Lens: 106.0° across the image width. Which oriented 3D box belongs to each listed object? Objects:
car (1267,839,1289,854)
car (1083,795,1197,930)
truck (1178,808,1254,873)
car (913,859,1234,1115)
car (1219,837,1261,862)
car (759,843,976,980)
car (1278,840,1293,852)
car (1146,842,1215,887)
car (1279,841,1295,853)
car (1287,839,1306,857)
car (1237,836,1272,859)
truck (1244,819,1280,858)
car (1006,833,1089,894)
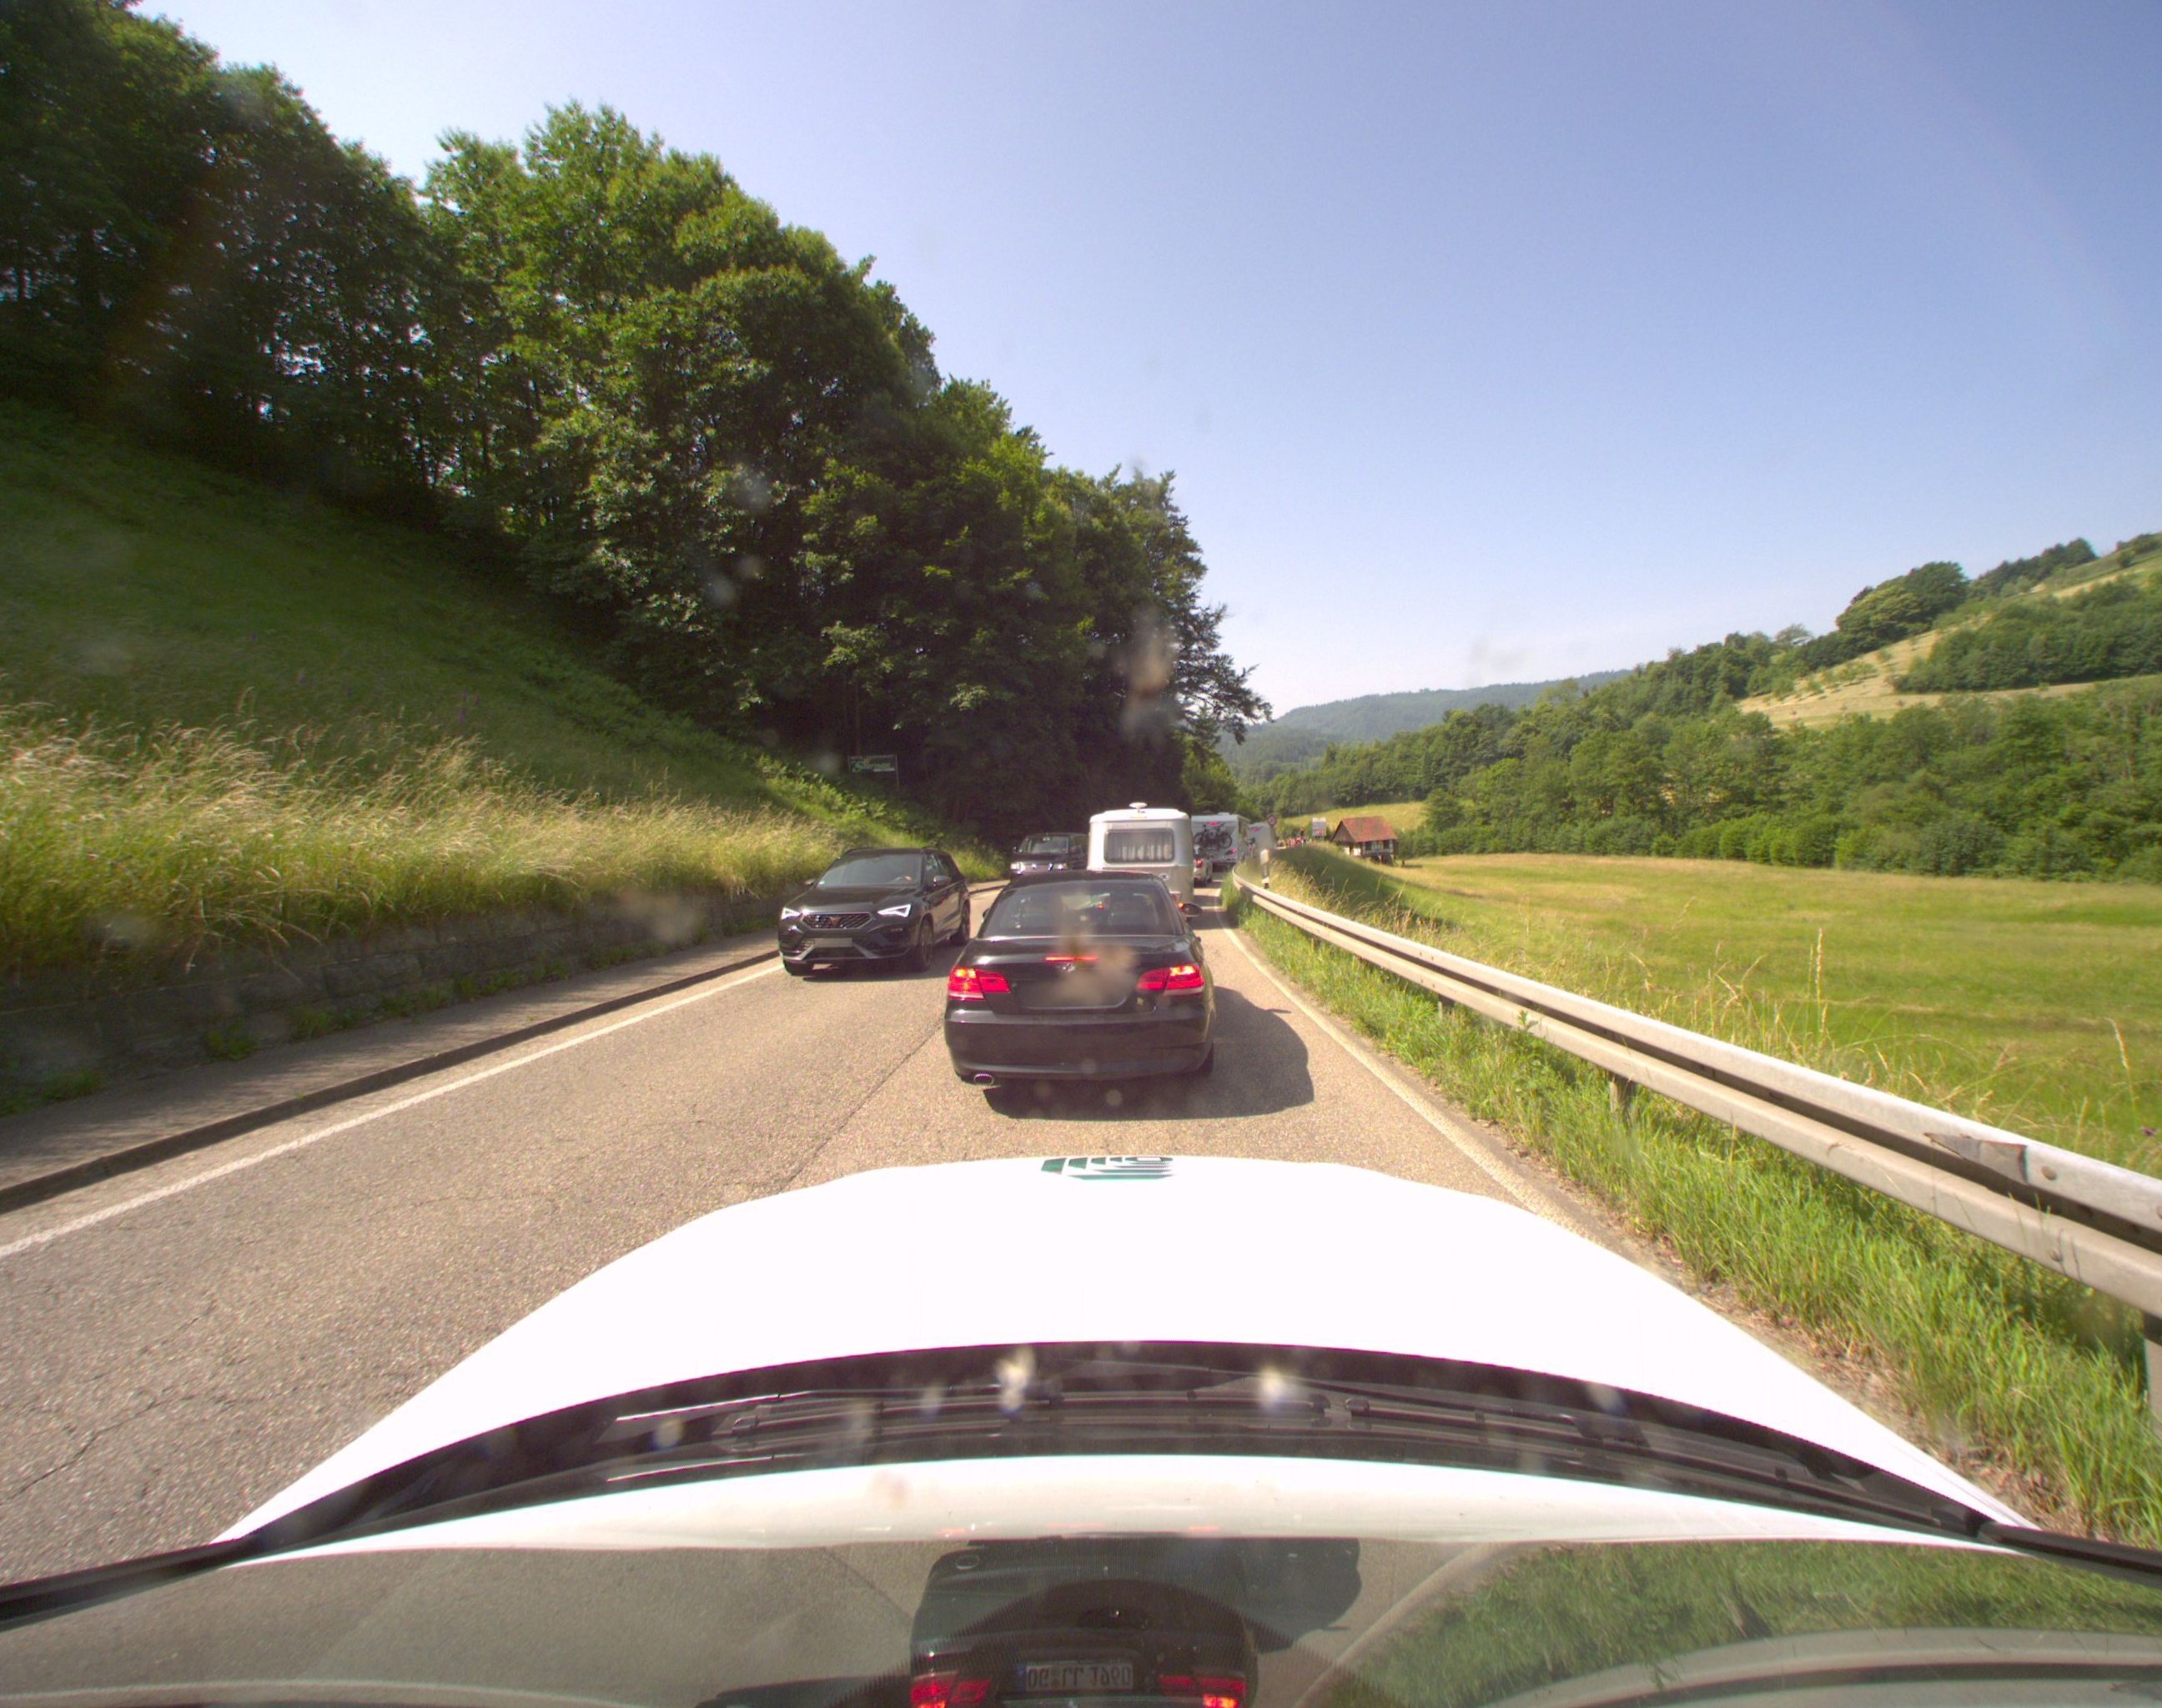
[{"bbox_3d":[20.517,-0.774,84.750,1.891,1.486,4.019,-1,0,19],"label":"car"},{"bbox_3d":[1.337,0.121,16.859,1.983,2.353,4.924,-1,1,7],"label":"car"},{"bbox_3d":[6.982,-0.728,41.260,2.768,2.997,6.901,1,2,18],"label":"truck"},{"bbox_3d":[0.108,0.757,6.399,1.763,1.335,3.772,-1,0,5],"label":"car"},{"bbox_3d":[9.924,-0.304,50.685,1.977,1.464,4.020,1,2,19],"label":"car"},{"bbox_3d":[-2.787,0.653,11.648,1.814,1.584,4.086,-1,1,3],"label":"car"},{"bbox_3d":[30.432,-1.125,121.160,1.978,1.684,4.018,0,-1,17],"label":"car"},{"bbox_3d":[3.635,0.326,29.221,1.979,1.484,4.015,1,1,13],"label":"car"},{"bbox_3d":[28.184,-0.885,111.452,1.978,1.575,4.017,-1,0,16],"label":"car"},{"bbox_3d":[24.894,-0.644,94.142,1.979,1.925,4.016,2,0,15],"label":"car"},{"bbox_3d":[12.047,-0.484,56.324,1.772,1.464,4.021,1,2,20],"label":"car"},{"bbox_3d":[13.959,-1.119,62.611,2.220,2.804,6.260,-1,0,17],"label":"truck"},{"bbox_3d":[-0.986,0.228,26.598,1.907,1.826,4.502,0,1,8],"label":"car"}]
